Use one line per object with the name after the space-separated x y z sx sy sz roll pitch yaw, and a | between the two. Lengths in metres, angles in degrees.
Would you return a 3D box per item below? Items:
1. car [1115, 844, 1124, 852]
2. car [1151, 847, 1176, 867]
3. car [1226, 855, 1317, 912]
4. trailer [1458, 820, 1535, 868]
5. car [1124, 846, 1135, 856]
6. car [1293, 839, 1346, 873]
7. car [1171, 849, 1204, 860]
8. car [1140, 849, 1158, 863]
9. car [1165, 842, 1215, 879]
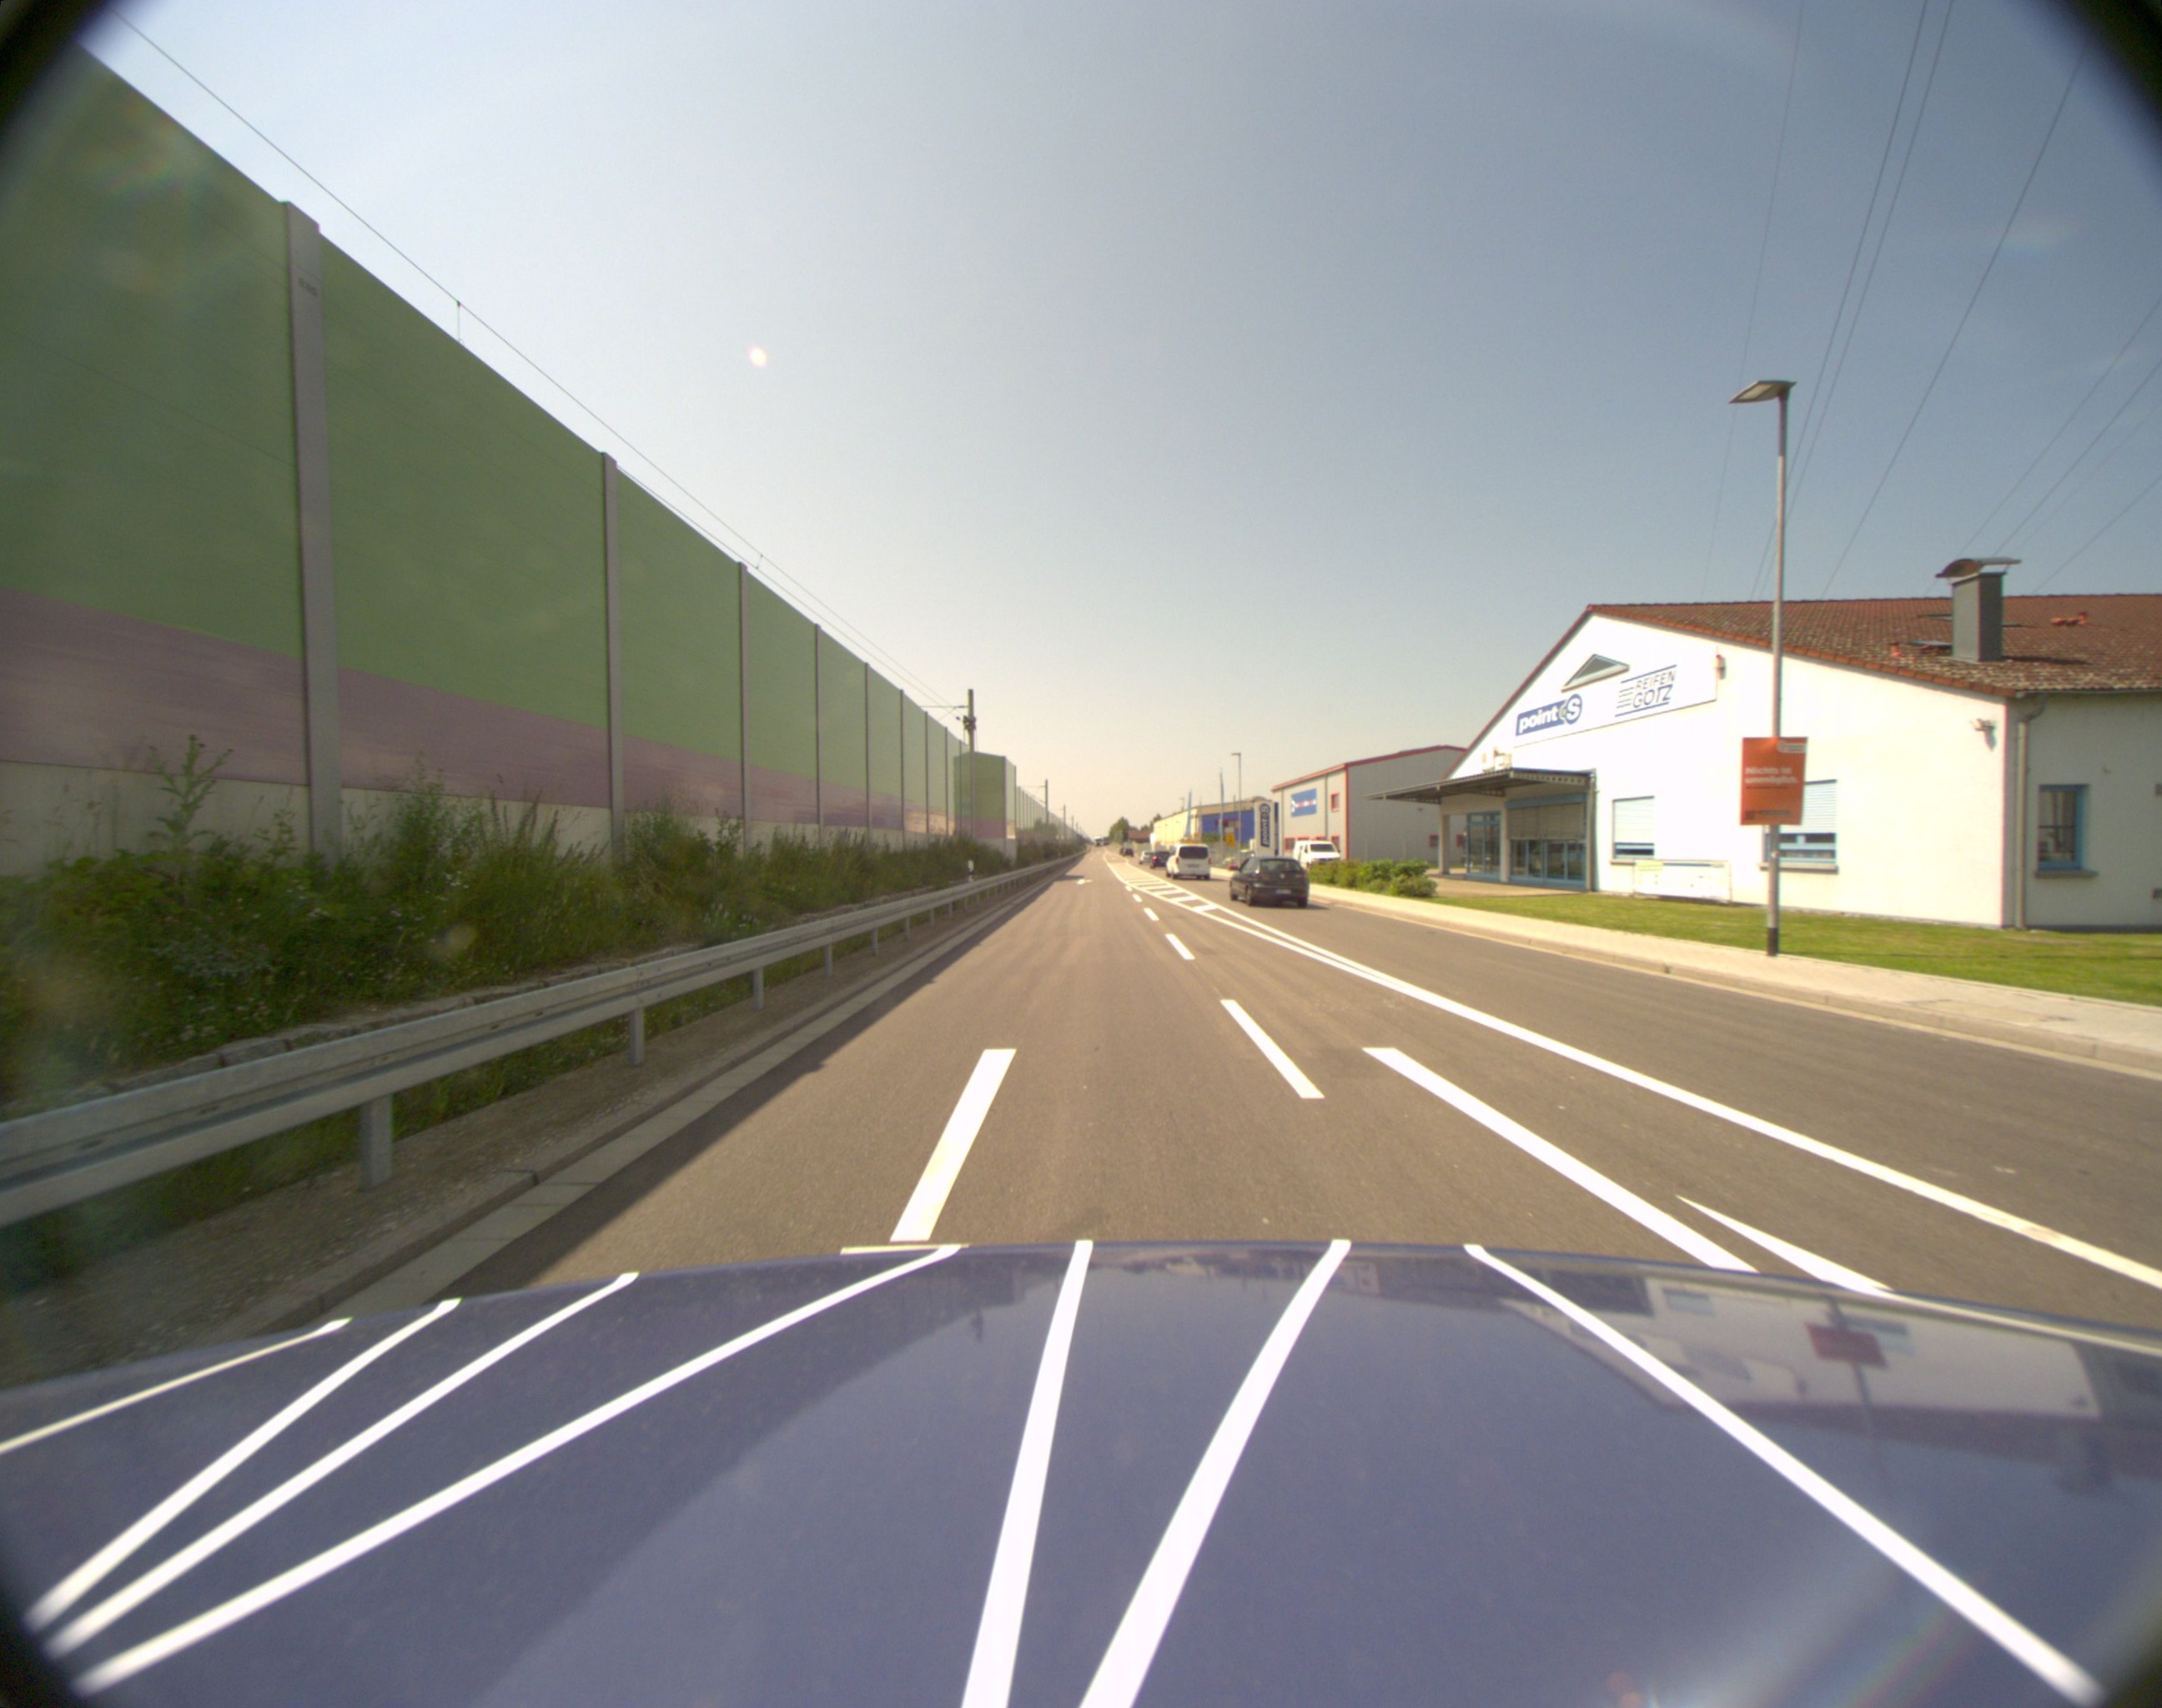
7.983 -1.274 158.380 1.746 1.584 3.796 0 1 1 | car
6.827 0.201 63.327 1.672 1.591 3.972 1 1 1 | car
5.419 0.786 22.128 1.675 1.415 4.000 1 1 1 | car
26.250 -0.654 48.255 2.167 2.832 5.123 -2 1 1 | trailer
8.583 -0.547 135.333 1.885 1.607 4.523 2 1 3 | car
14.797 0.064 47.460 1.998 2.002 4.680 0 1 2 | car
14.489 0.037 103.496 4.152 1.493 1.778 -1 0 24 | car
7.297 0.181 81.918 1.768 1.457 4.259 1 1 2 | car
5.813 0.280 41.276 1.998 1.863 5.168 0 1 0 | car
